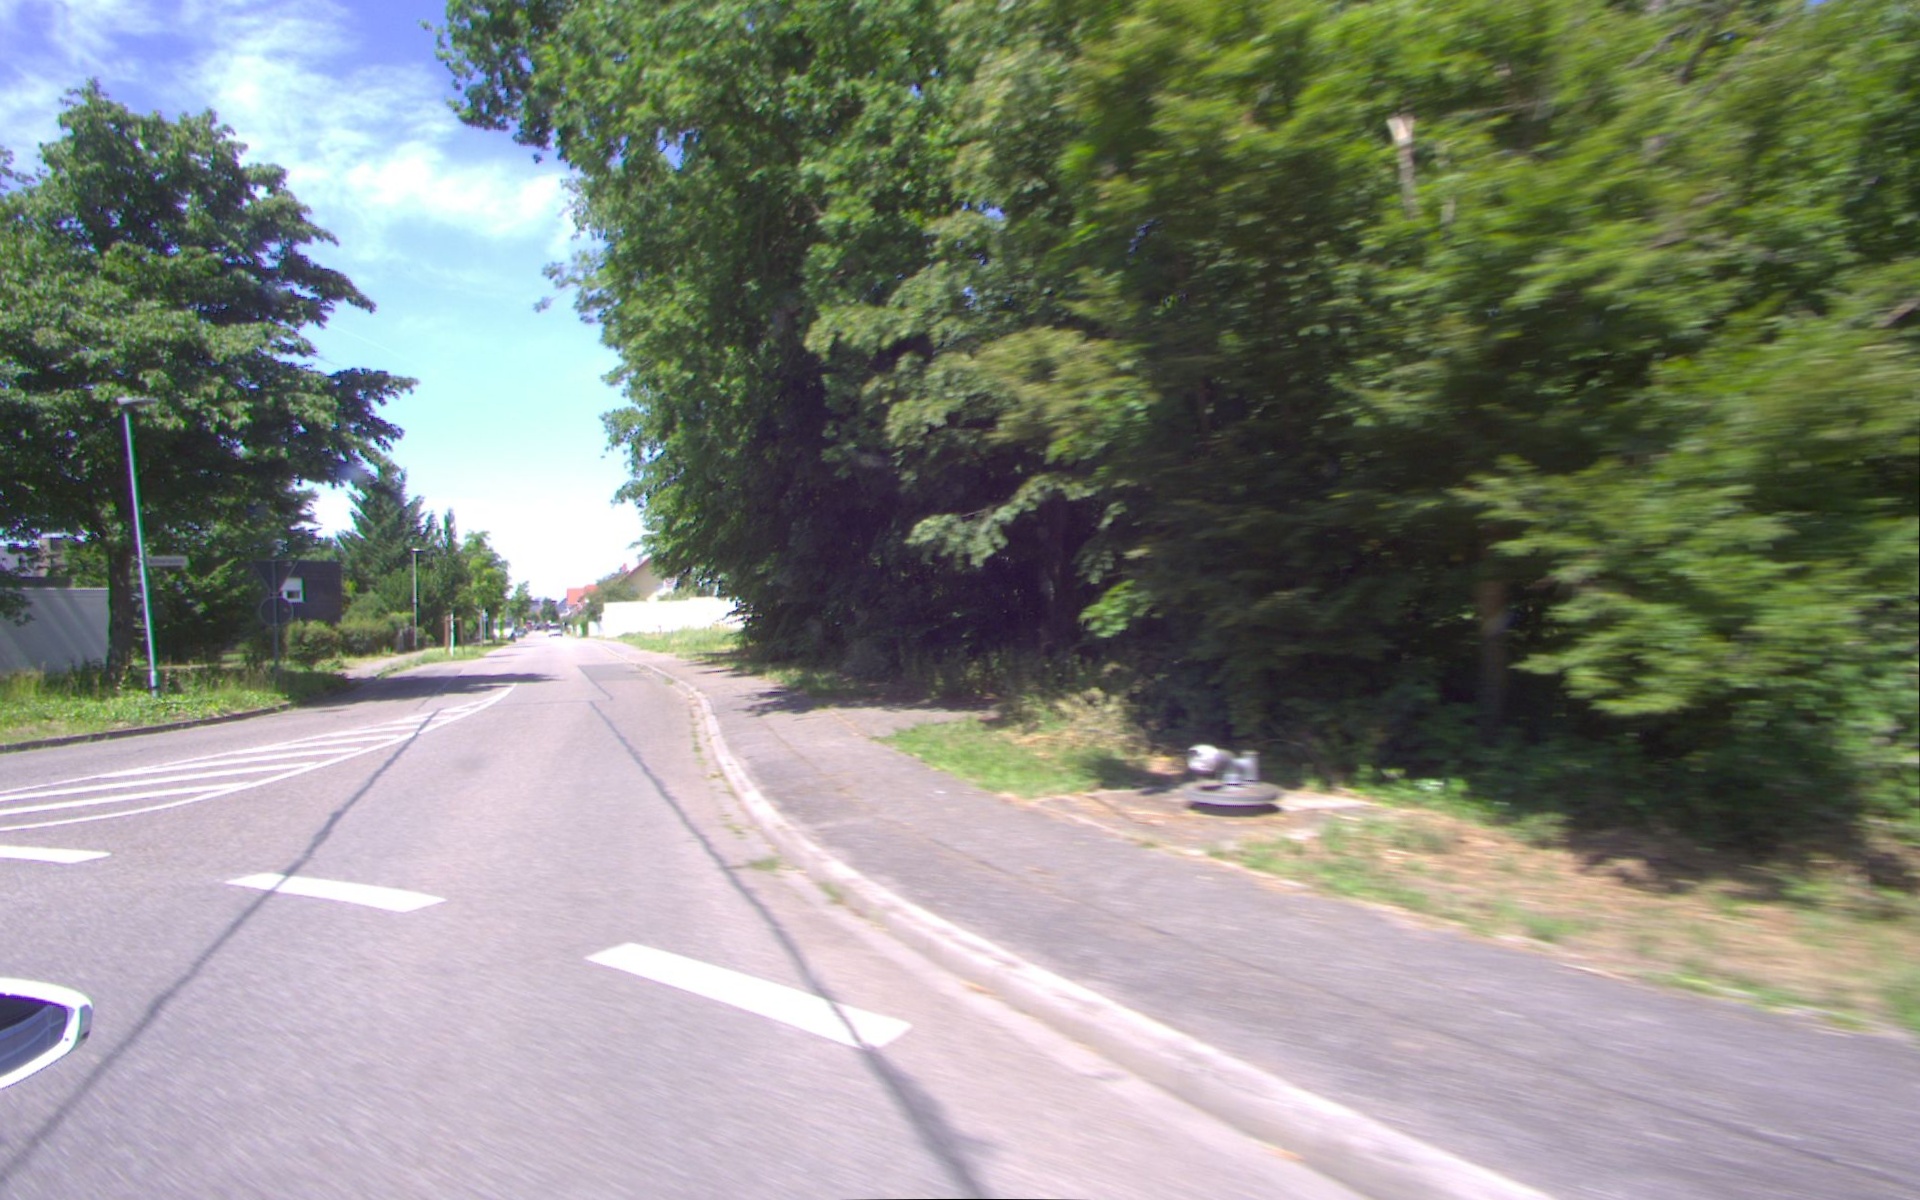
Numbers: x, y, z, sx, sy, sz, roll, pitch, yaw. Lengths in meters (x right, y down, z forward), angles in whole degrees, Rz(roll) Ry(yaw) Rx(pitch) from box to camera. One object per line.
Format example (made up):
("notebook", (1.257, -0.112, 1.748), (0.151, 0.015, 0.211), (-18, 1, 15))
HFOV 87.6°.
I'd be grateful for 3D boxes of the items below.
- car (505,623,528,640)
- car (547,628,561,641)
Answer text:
("car", (-43.515, 3.062, 98.162), (1.732, 1.498, 3.780), (-2, -2, -29))
("car", (-58.193, 4.949, 143.463), (1.812, 1.682, 3.990), (-2, -2, -23))
